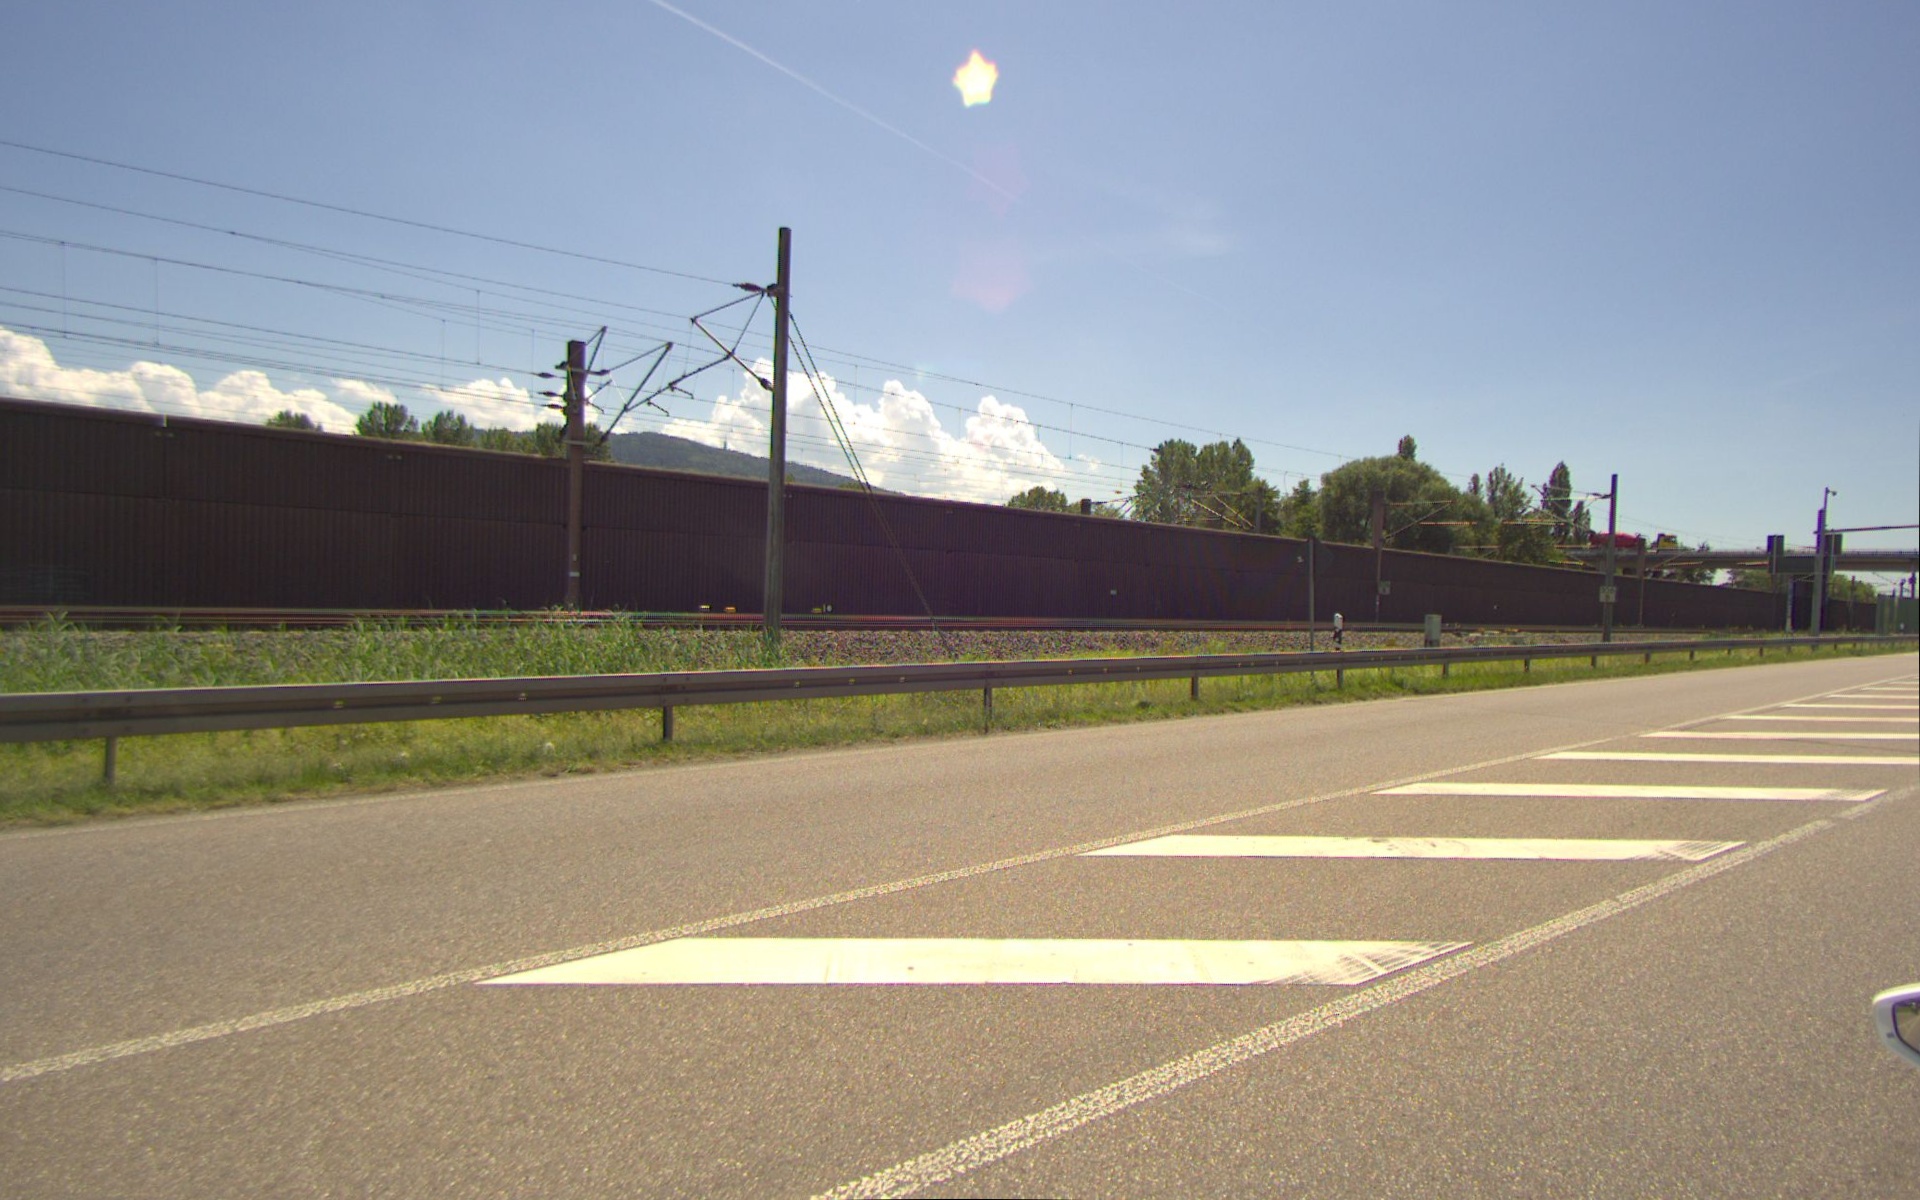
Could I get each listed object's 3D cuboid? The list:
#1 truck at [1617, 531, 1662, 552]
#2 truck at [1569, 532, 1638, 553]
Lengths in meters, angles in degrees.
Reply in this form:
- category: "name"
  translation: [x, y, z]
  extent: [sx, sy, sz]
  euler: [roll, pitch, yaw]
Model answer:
- category: "truck"
  translation: [98.220, -8.421, 145.252]
  extent: [1.982, 2.710, 5.051]
  euler: [1, 0, -38]
- category: "truck"
  translation: [95.362, -8.459, 148.961]
  extent: [1.982, 2.710, 8.430]
  euler: [1, 0, -38]
